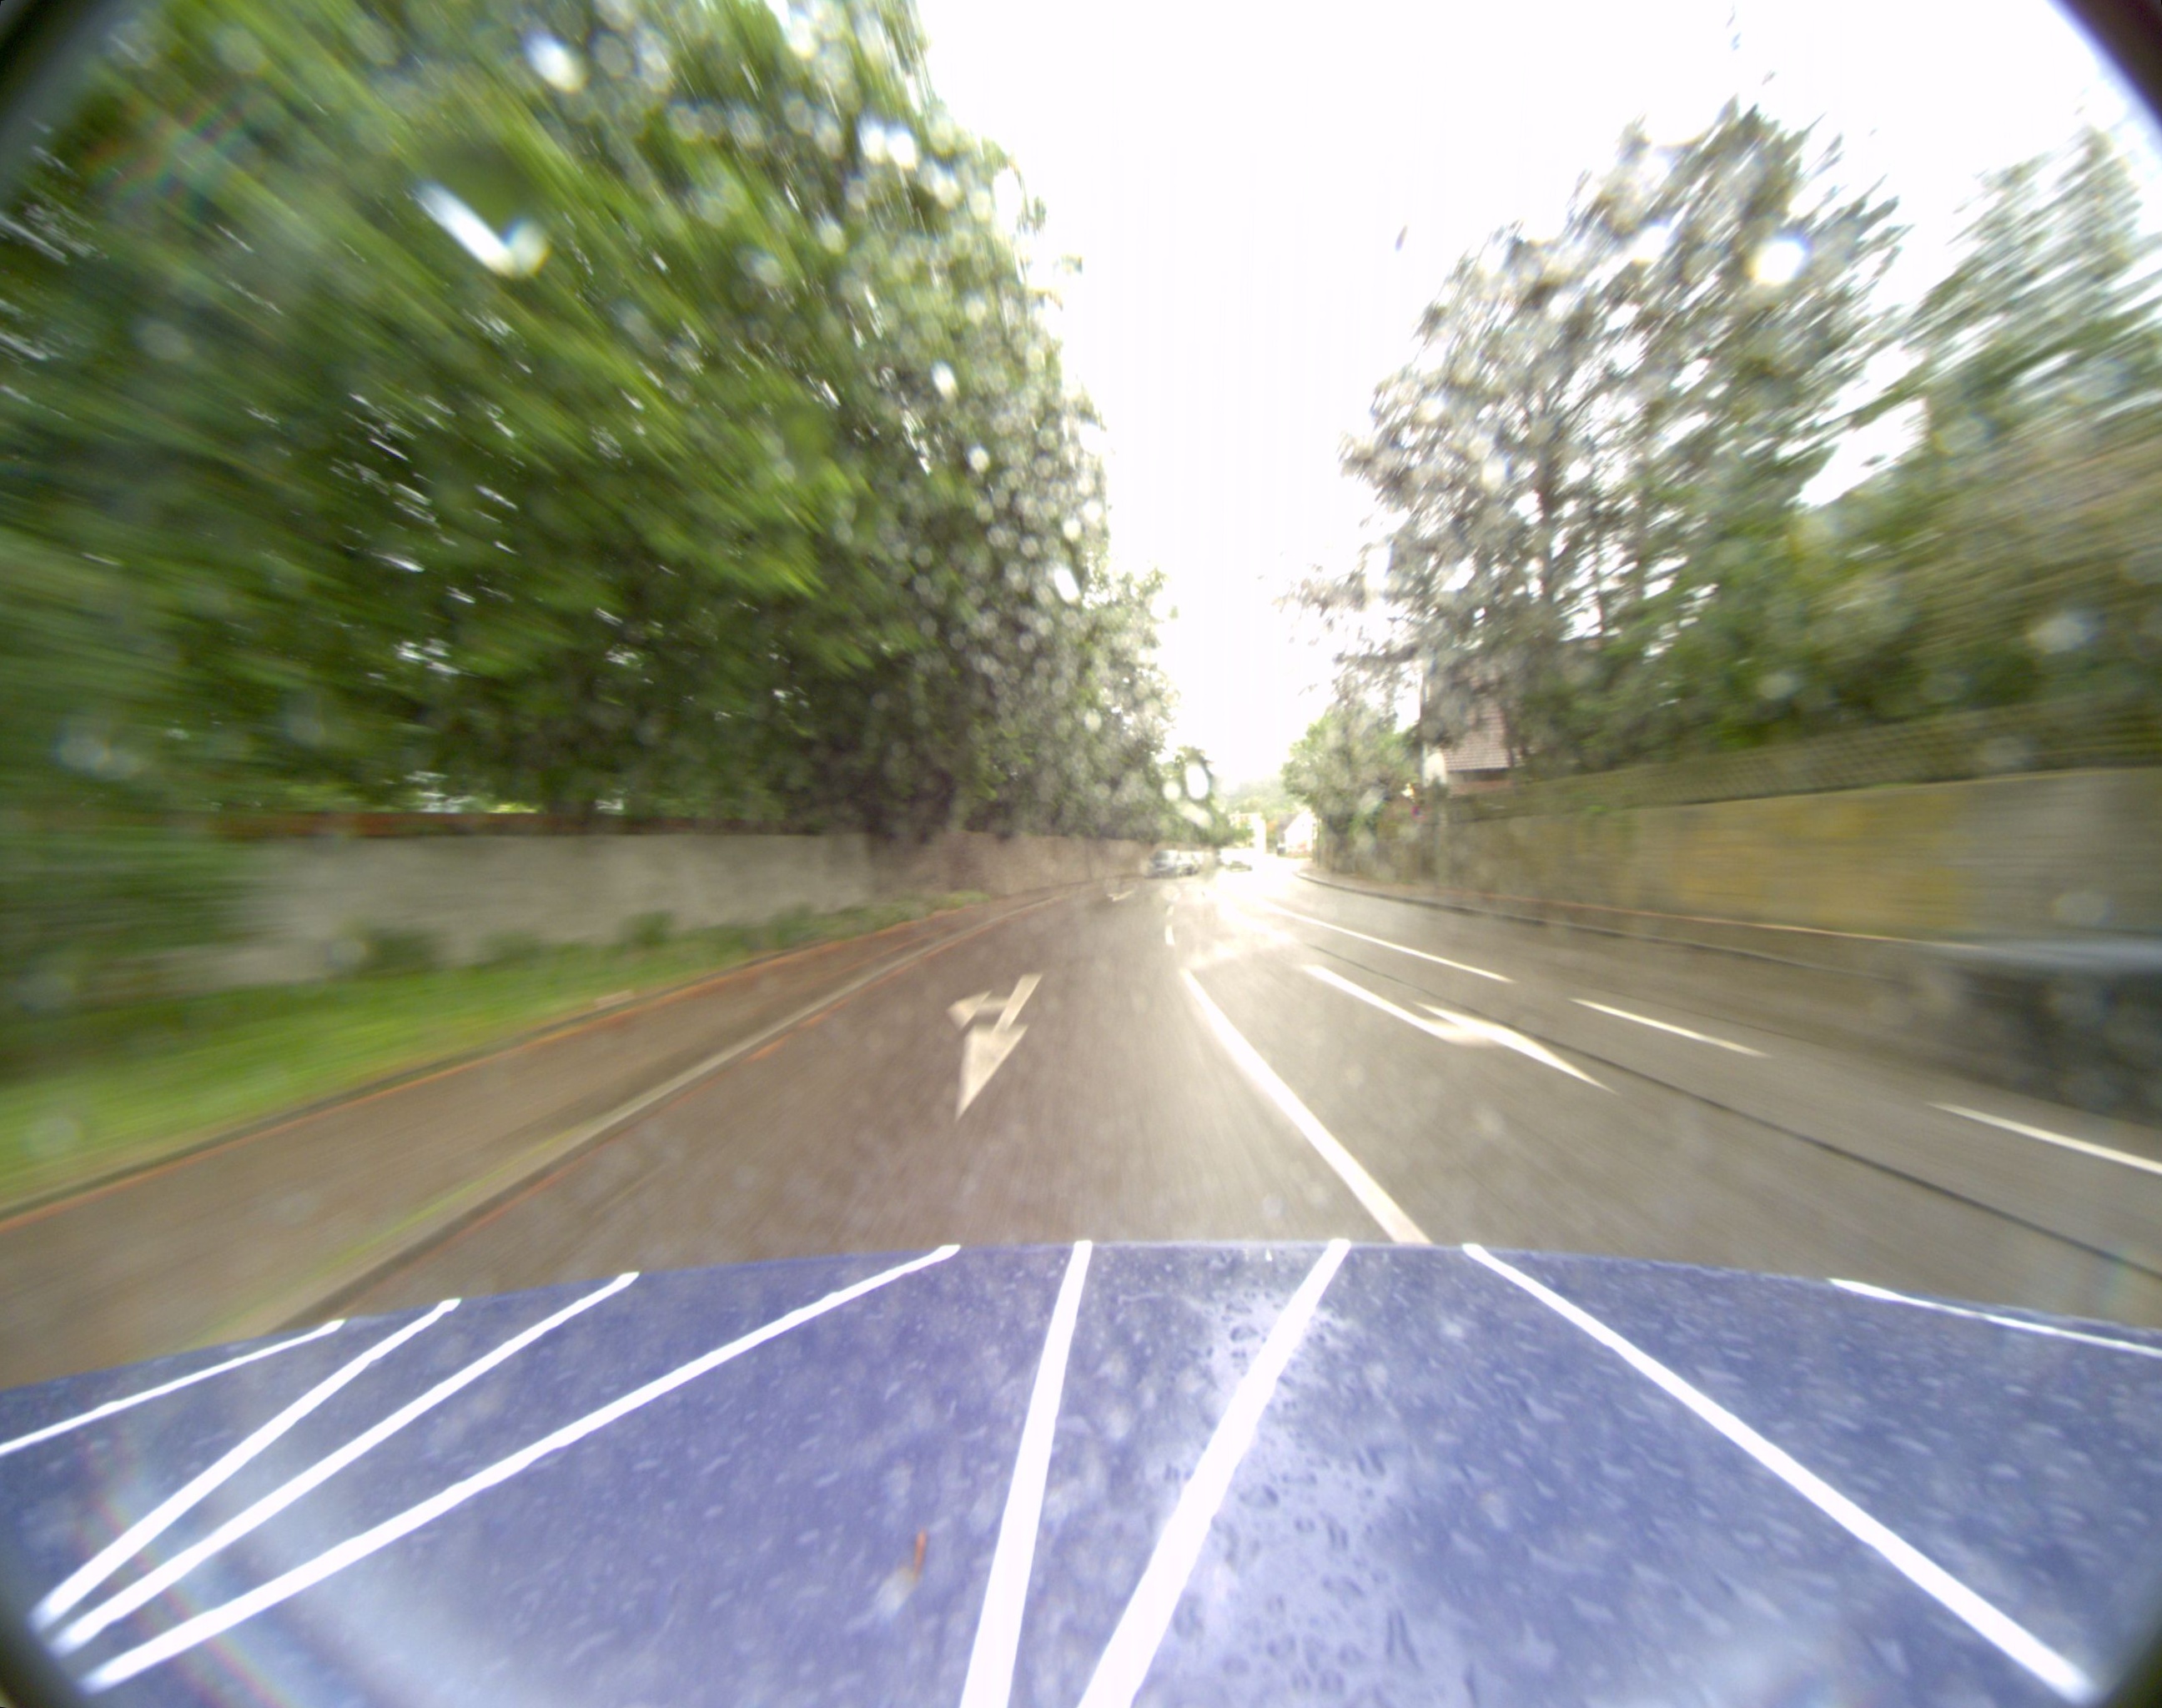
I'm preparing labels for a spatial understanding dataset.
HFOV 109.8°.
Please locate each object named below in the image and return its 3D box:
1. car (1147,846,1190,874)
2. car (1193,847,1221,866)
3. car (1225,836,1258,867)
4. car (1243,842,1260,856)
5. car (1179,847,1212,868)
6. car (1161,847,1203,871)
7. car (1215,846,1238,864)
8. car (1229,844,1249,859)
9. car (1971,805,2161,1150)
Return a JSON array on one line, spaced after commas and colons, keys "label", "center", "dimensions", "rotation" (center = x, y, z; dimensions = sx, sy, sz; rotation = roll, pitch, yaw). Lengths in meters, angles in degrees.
[{"label": "car", "center": [5.041, 0.298, 43.418], "dimensions": [1.792, 1.524, 3.804], "rotation": [0, 1, 16]}, {"label": "car", "center": [9.892, 0.185, 59.462], "dimensions": [1.762, 1.411, 4.158], "rotation": [0, 1, 15]}, {"label": "car", "center": [11.631, -0.225, 54.835], "dimensions": [1.996, 2.002, 4.003], "rotation": [-2, 2, 15]}, {"label": "car", "center": [23.772, -0.695, 105.987], "dimensions": [1.946, 1.783, 4.191], "rotation": [-1, 1, 17]}, {"label": "car", "center": [8.259, 0.233, 54.371], "dimensions": [1.761, 1.411, 4.158], "rotation": [0, 1, 17]}, {"label": "car", "center": [6.544, 0.287, 48.854], "dimensions": [1.996, 1.411, 4.489], "rotation": [0, 0, 16]}, {"label": "car", "center": [13.970, 0.094, 72.757], "dimensions": [1.831, 1.620, 4.158], "rotation": [0, 1, 16]}, {"label": "car", "center": [17.708, -0.314, 85.038], "dimensions": [1.831, 1.620, 4.158], "rotation": [0, 1, 18]}, {"label": "car", "center": [6.327, 0.586, 2.532], "dimensions": [1.999, 1.696, 3.999], "rotation": [-2, 0, -2]}]
